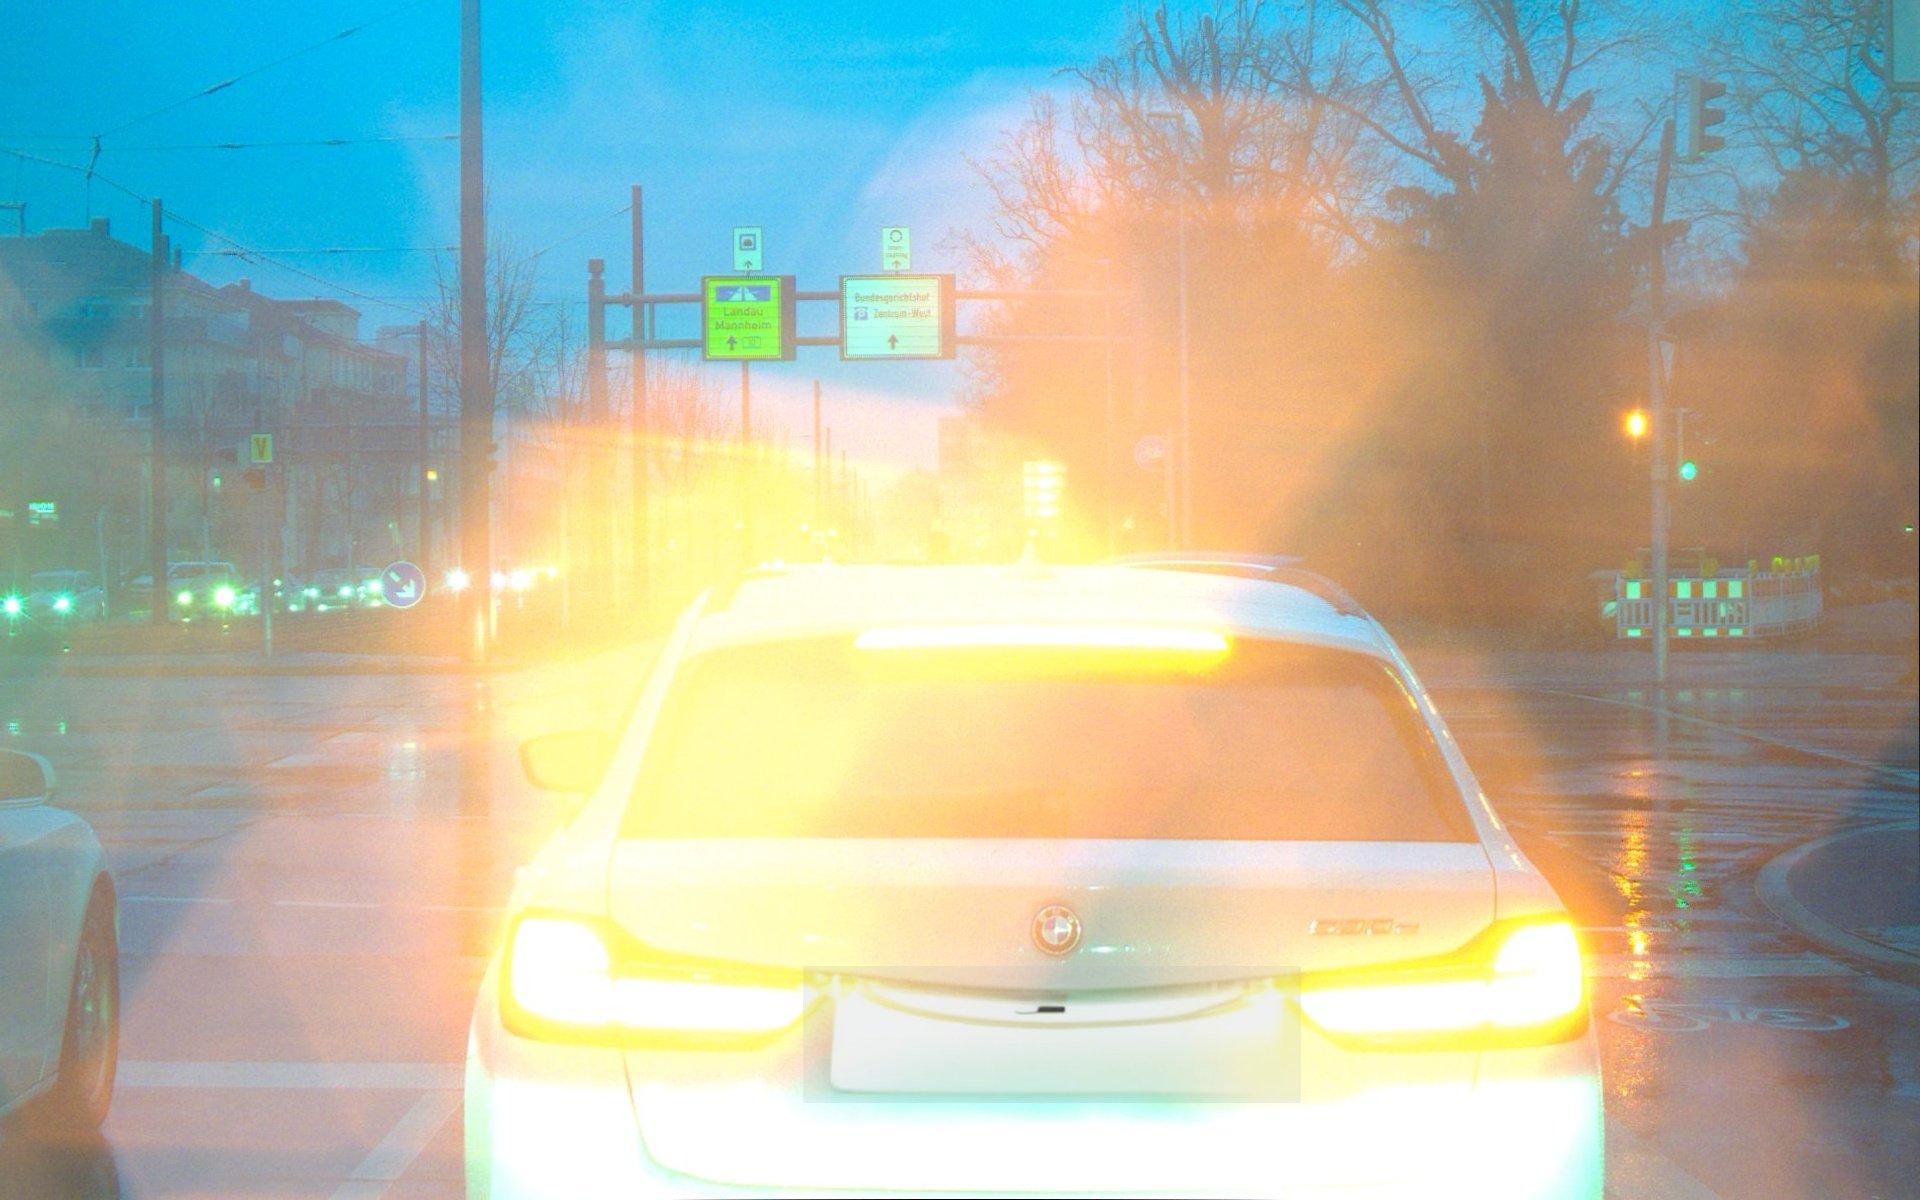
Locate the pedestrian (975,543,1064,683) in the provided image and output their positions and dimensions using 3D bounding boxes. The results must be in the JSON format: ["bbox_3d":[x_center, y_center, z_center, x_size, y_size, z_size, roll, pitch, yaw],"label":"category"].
[{"bbox_3d":[0.804,0.170,46.293,0.904,1.850,0.811,1,0,24],"label":"pedestrian"}]

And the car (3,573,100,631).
[{"bbox_3d":[-24.576,0.065,93.106,1.675,1.502,3.696,1,0,-1],"label":"car"}]

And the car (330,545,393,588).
[{"bbox_3d":[-21.715,-1.193,124.906,1.675,1.502,3.696,1,0,-1],"label":"car"}]

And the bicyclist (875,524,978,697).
[{"bbox_3d":[-0.340,0.106,35.511,0.972,1.753,0.813,1,0,4],"label":"bicyclist"}]

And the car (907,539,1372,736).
[{"bbox_3d":[1.640,0.318,30.587,3.988,1.617,1.719,1,0,7],"label":"car"}]

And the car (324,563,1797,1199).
[{"bbox_3d":[0.047,0.673,6.837,1.993,1.451,4.369,0,1,-2],"label":"car"}]

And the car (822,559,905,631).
[{"bbox_3d":[-2.244,-0.111,80.030,1.843,1.603,3.945,1,0,-2],"label":"car"}]

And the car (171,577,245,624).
[{"bbox_3d":[-24.806,0.010,113.477,1.675,1.502,3.696,1,0,-1],"label":"car"}]

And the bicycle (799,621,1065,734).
[{"bbox_3d":[-0.279,0.792,35.510,2.667,1.085,0.815,1,0,4],"label":"bicycle"}]

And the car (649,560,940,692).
[{"bbox_3d":[-2.114,0.305,42.911,1.743,1.548,3.967,1,0,-35],"label":"car"}]

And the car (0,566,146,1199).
[{"bbox_3d":[-3.098,0.670,7.056,1.993,1.451,4.369,0,1,-2],"label":"car"}]
